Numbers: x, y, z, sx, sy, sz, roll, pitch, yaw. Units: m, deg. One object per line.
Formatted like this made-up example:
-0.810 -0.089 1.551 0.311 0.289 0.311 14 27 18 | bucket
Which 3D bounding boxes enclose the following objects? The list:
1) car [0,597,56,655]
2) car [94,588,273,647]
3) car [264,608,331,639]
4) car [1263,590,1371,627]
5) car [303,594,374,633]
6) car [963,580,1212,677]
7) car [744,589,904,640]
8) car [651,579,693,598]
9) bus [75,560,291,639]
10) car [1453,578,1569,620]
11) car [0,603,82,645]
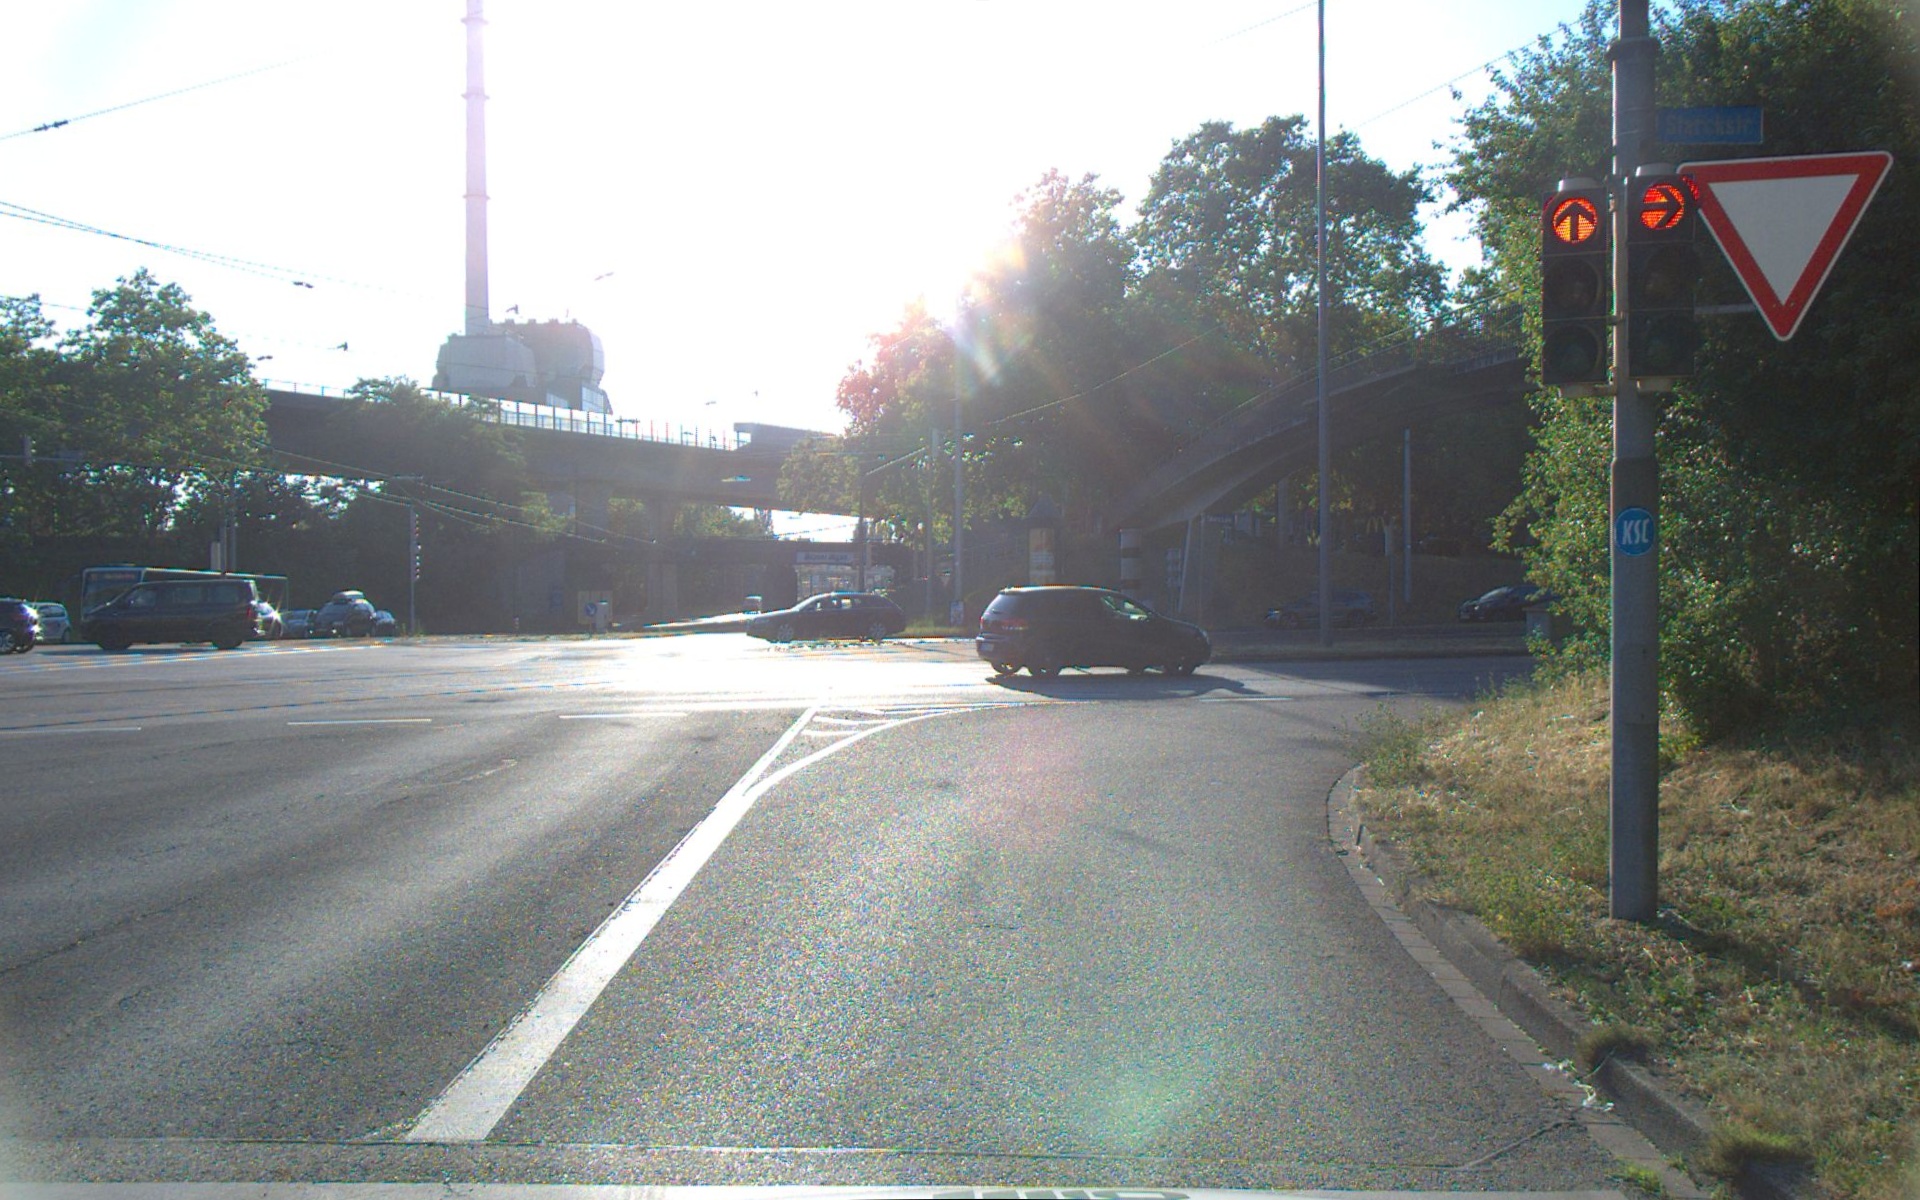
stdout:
-26.134 0.646 42.732 4.436 1.479 1.996 0 0 -9 | car
-22.513 0.502 48.123 4.449 1.651 1.990 0 0 -18 | car
-32.007 1.120 80.014 1.665 1.467 4.000 0 0 0 | car
14.517 0.349 67.371 4.052 1.447 1.697 0 0 0 | car
-28.086 0.593 74.874 1.676 1.681 4.095 0 0 0 | car
2.144 0.461 27.837 3.850 1.544 1.723 0 0 -23 | car
-4.098 0.422 49.626 4.450 1.479 1.989 0 0 -19 | car
-28.626 -1.142 164.536 1.957 1.802 3.991 1 0 31 | car
-32.120 -0.031 69.297 2.764 3.006 12.855 0 0 1 | bus
19.500 -0.015 58.564 3.666 1.447 1.687 0 0 -20 | car
-32.133 0.805 57.323 1.572 1.378 3.732 0 0 -3 | car
